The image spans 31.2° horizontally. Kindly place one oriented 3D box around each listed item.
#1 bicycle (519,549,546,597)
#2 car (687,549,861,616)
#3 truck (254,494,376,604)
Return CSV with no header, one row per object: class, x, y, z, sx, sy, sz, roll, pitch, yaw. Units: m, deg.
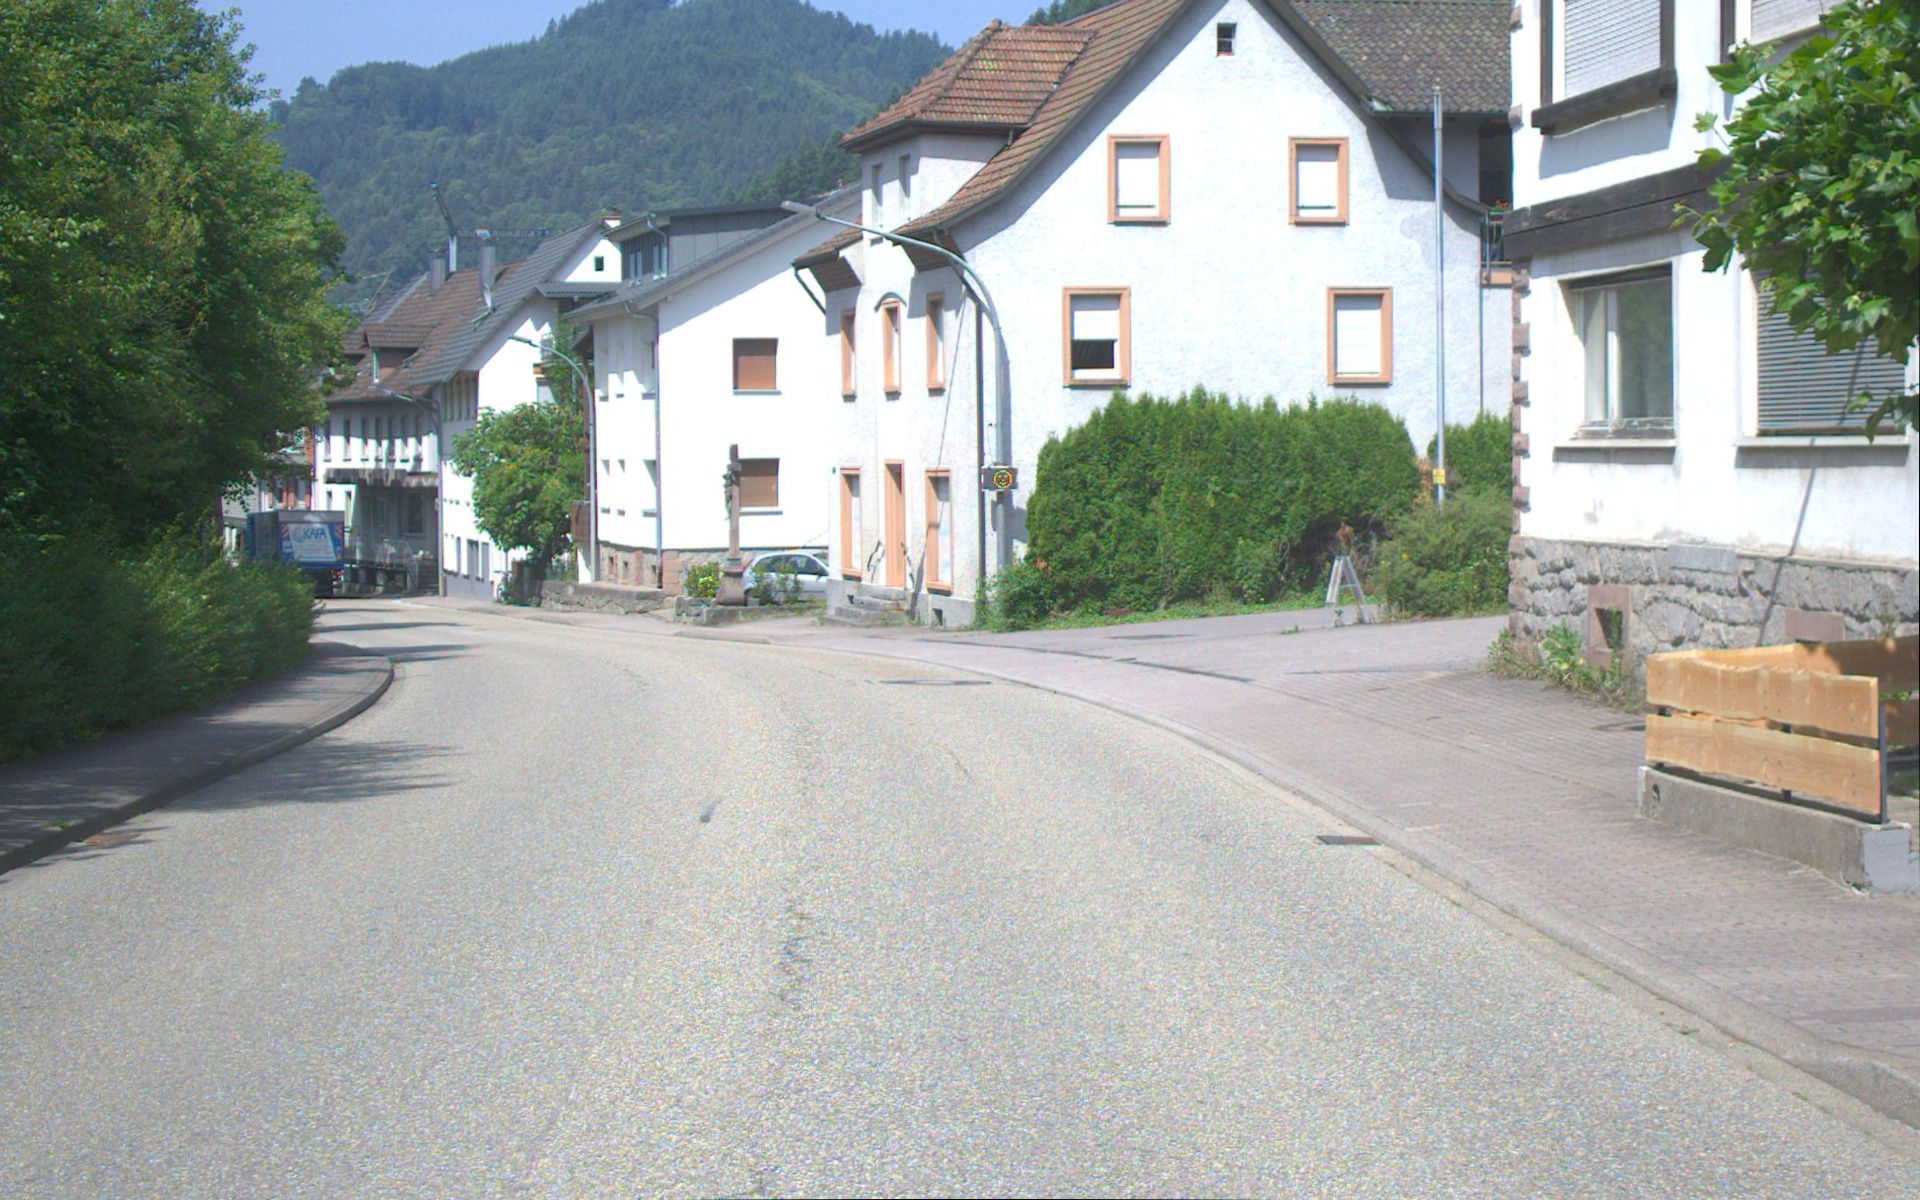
bicycle,-12.981,-0.822,104.359,0.425,1.391,2.277,-5,2,-14
car,-4.346,-0.409,80.192,3.770,1.422,1.607,-2,1,31
truck,-25.396,-1.956,135.018,3.362,3.769,8.442,-5,0,-18
